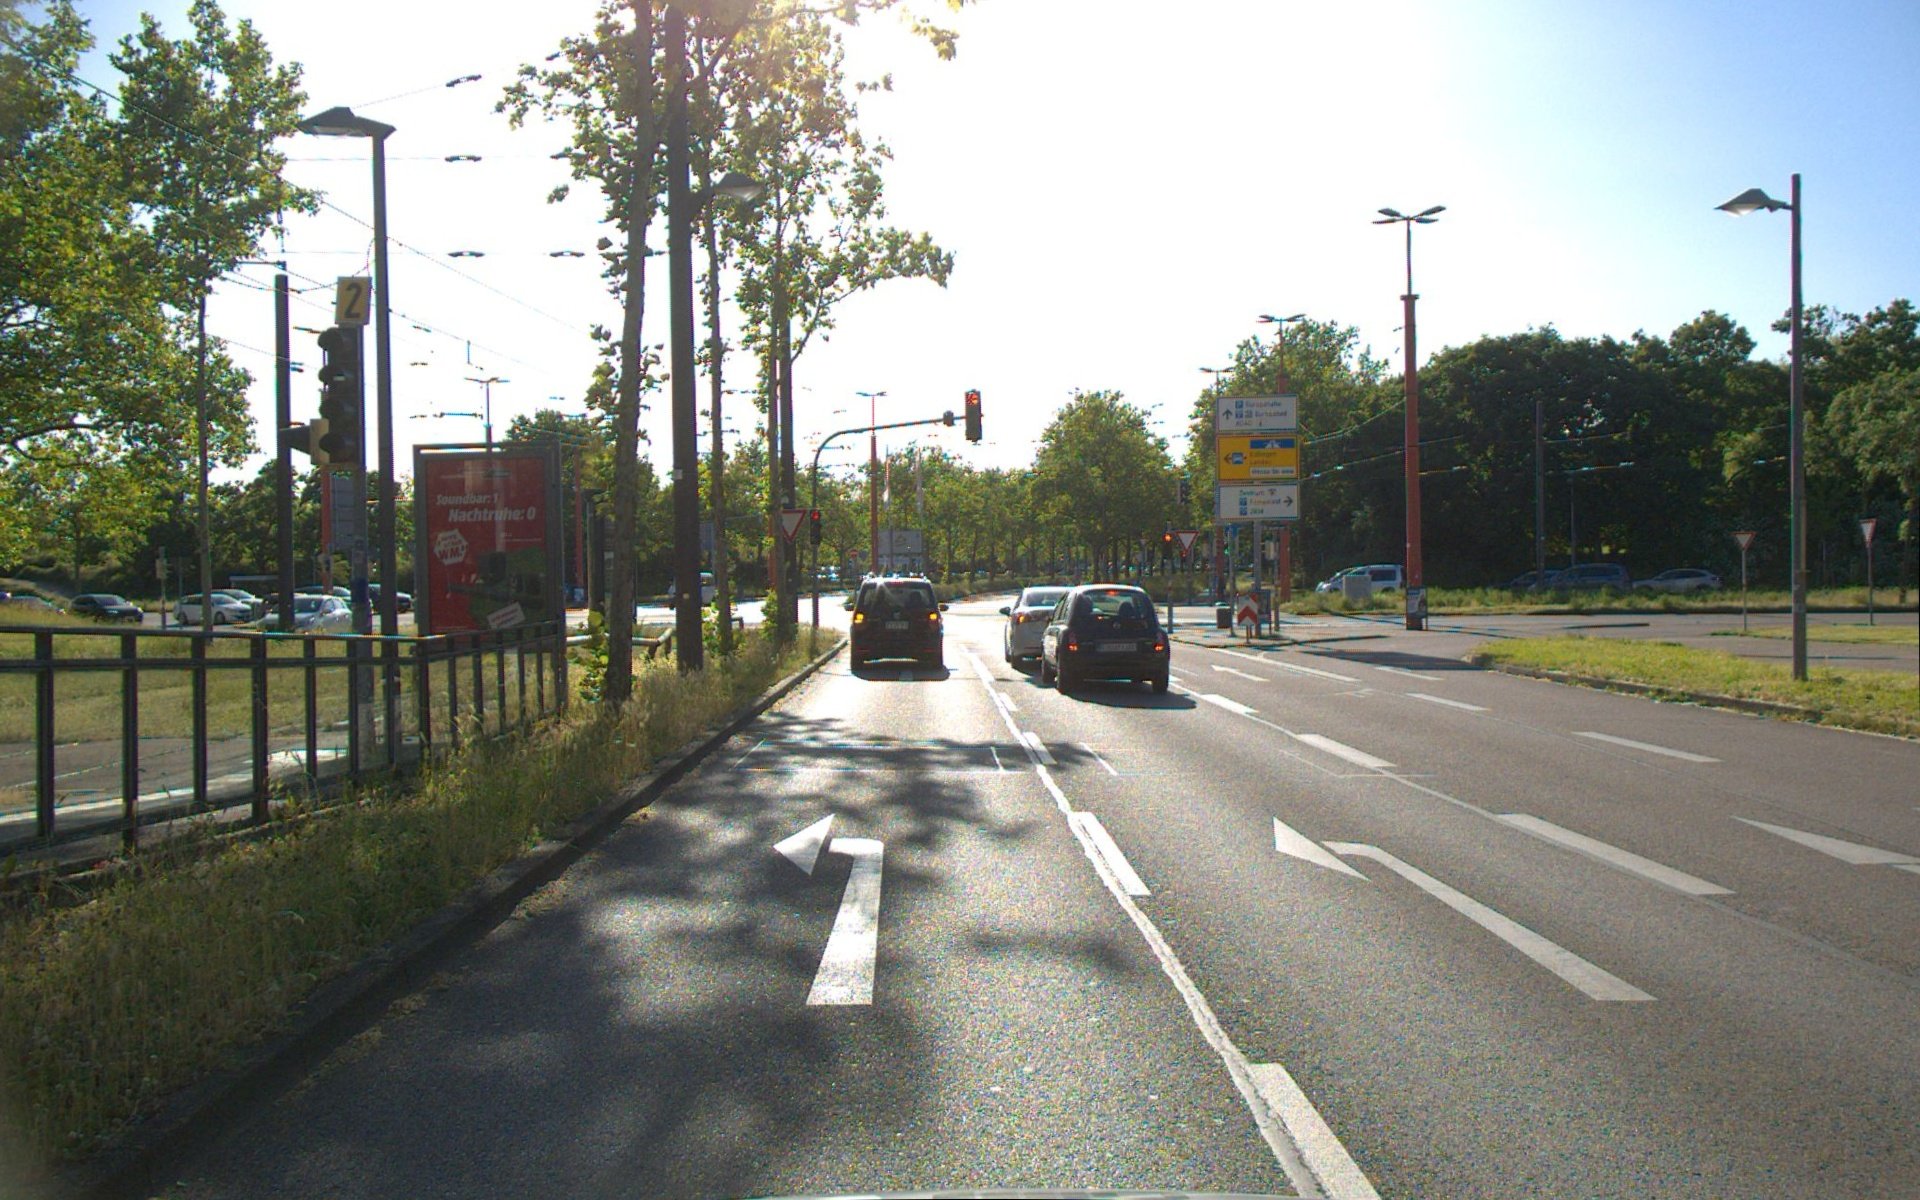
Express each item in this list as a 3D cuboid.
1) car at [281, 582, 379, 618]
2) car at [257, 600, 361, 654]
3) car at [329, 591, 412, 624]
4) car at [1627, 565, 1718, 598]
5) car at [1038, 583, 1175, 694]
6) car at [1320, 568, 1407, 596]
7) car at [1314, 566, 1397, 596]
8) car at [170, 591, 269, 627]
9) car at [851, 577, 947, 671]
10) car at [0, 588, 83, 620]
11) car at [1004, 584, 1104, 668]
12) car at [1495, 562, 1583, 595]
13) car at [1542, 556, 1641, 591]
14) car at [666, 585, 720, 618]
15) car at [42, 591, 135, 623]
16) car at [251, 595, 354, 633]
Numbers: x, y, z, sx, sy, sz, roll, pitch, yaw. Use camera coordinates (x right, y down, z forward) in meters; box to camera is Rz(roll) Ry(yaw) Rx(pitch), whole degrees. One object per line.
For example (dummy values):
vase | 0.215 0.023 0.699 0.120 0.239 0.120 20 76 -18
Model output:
car | -32.208 -0.005 84.536 4.390 1.638 1.902 -1 3 17
car | -18.604 0.754 47.437 1.598 1.475 3.717 0 0 -2
car | -32.510 0.409 91.247 3.903 1.649 1.902 1 3 17
car | 33.595 -0.854 77.977 3.908 1.521 1.860 0 0 25
car | 2.149 0.524 25.059 1.606 1.520 3.502 0 1 -3
car | 19.826 -0.893 81.188 3.907 1.361 1.728 0 0 24
car | 20.231 -0.945 84.560 3.907 1.502 1.788 0 0 24
car | -37.454 0.468 83.677 4.391 1.639 1.902 -1 2 17
car | -1.159 0.416 31.002 1.676 1.631 3.348 1 0 -3
car | -50.535 0.198 90.512 4.391 1.638 1.902 0 3 17
car | 1.742 0.462 31.686 1.644 1.500 4.130 0 0 -1
car | 28.193 -1.032 80.497 3.907 1.588 1.898 0 0 25
car | 29.277 -1.220 76.684 4.263 1.586 1.871 0 0 23
car | -14.978 0.072 92.981 1.784 1.811 4.571 0 0 7
car | -42.785 0.330 81.175 4.398 1.570 1.898 0 0 27
car | -32.302 0.703 81.255 4.390 1.638 1.902 -1 3 17
